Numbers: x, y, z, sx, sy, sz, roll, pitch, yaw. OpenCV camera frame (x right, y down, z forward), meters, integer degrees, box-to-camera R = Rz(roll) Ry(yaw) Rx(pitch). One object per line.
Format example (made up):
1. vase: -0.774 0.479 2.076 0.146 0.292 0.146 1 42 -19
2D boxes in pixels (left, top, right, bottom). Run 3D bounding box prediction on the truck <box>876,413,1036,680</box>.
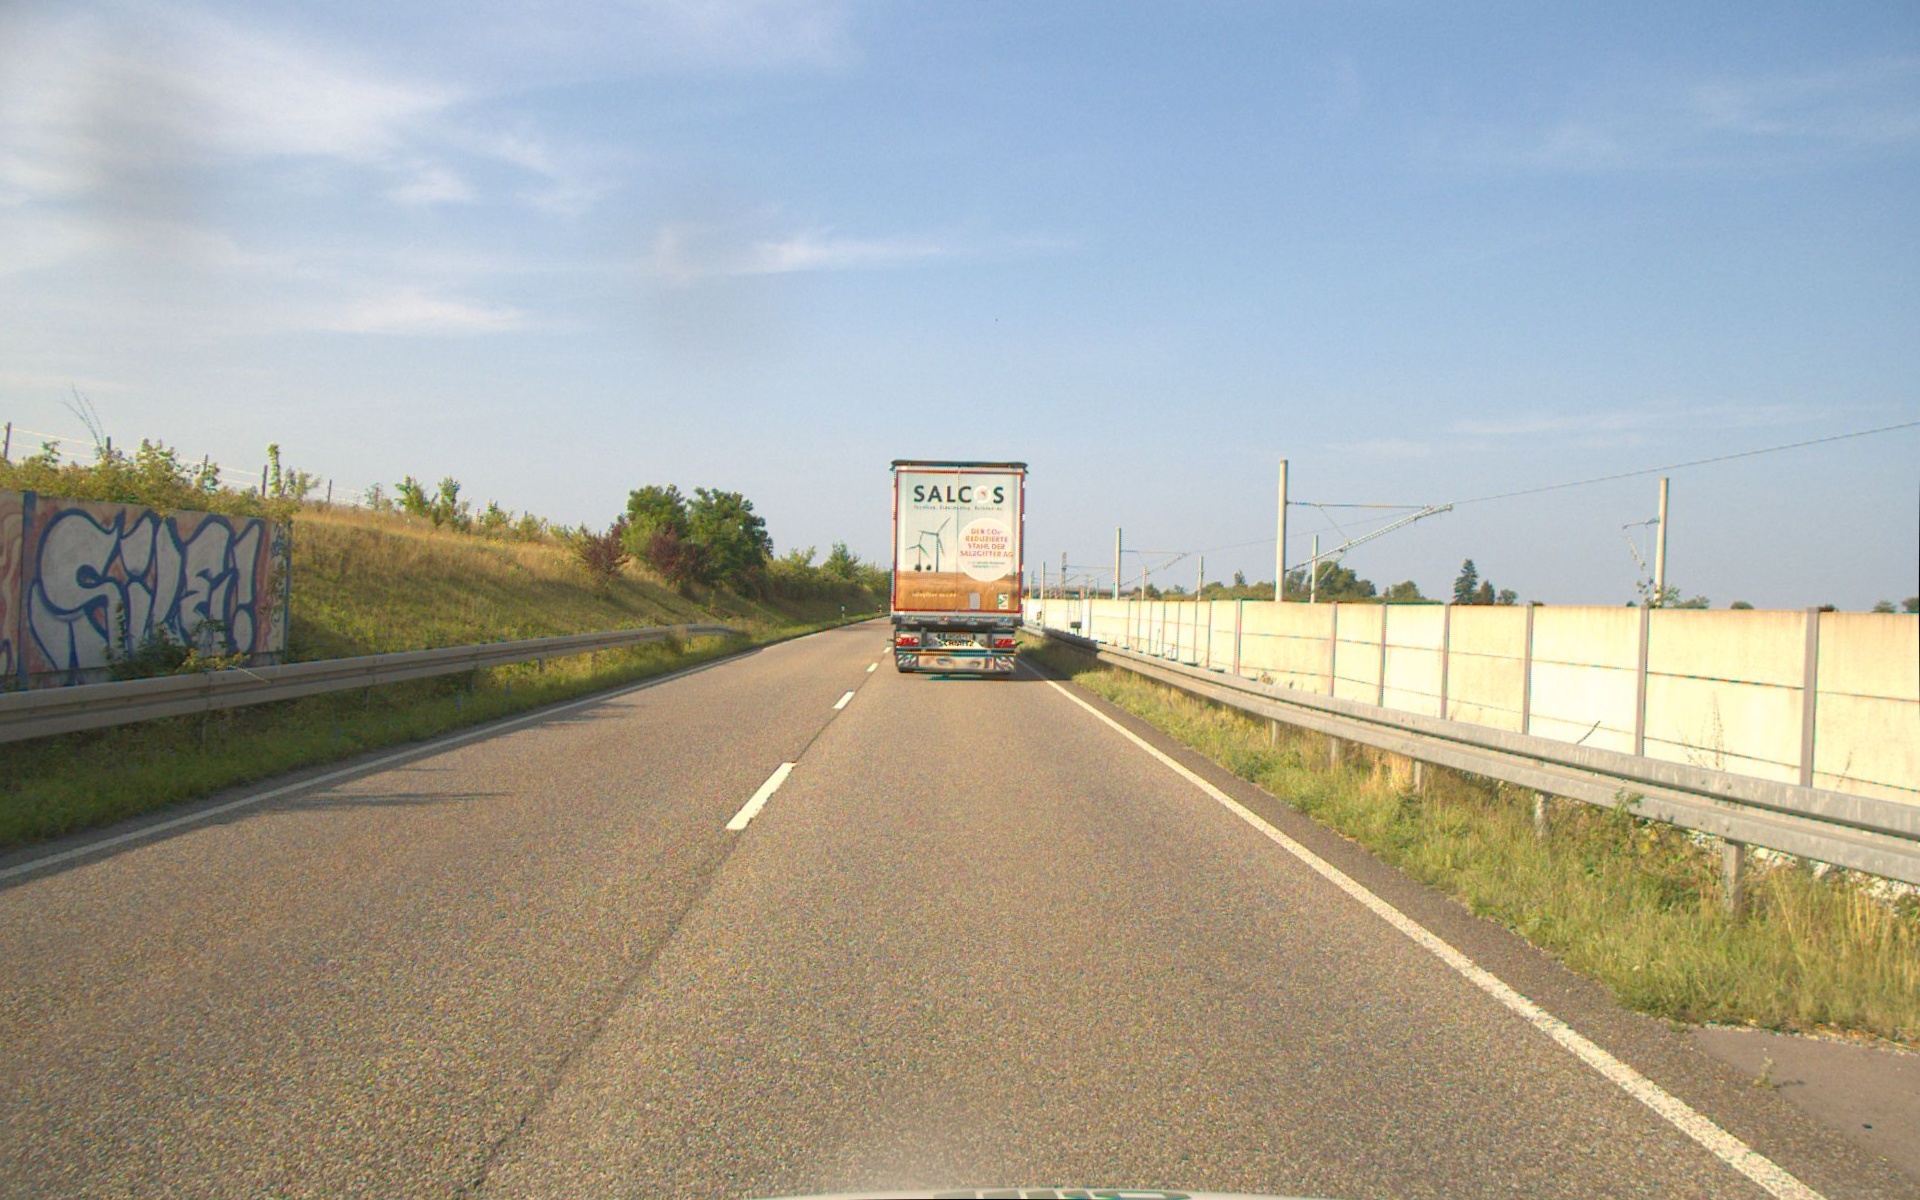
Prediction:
1. truck: -0.185 -1.038 37.004 2.971 5.006 11.681 1 0 -1
